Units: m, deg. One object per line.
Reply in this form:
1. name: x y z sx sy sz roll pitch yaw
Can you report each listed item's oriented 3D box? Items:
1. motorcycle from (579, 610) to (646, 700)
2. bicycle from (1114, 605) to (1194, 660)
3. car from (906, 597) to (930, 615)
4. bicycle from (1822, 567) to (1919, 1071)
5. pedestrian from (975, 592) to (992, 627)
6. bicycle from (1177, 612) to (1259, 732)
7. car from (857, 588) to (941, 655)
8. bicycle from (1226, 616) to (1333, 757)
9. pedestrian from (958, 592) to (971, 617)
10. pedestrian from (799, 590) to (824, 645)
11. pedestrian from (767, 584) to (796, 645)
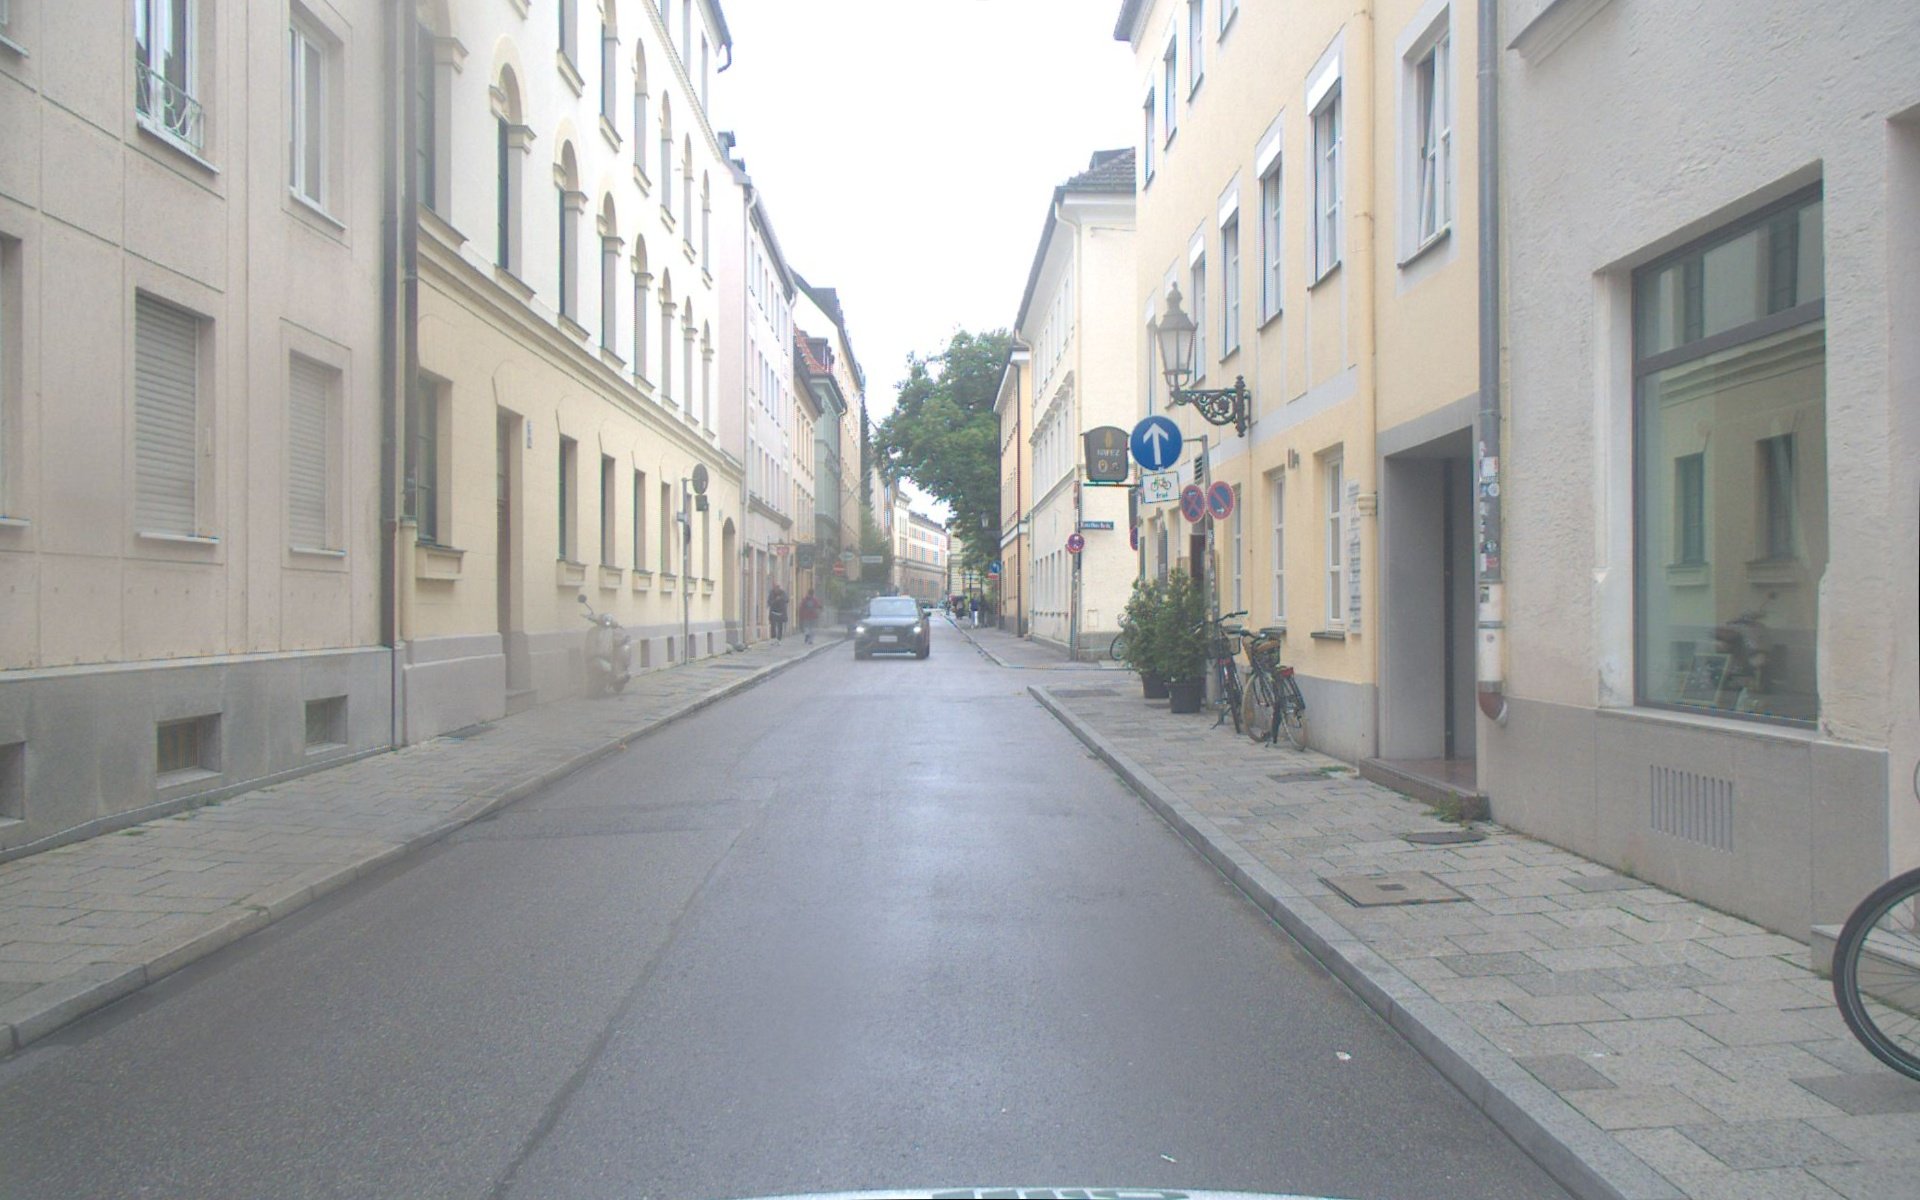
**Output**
1. motorcycle: -4.850 0.748 23.152 0.590 1.194 1.708 0 0 -1
2. bicycle: 4.352 0.721 37.094 1.721 1.164 0.586 -1 2 -1
3. car: -3.434 0.497 136.179 1.742 1.492 3.543 1 0 2
4. bicycle: 3.020 0.612 4.048 0.698 1.420 2.122 -3 0 1
5. pedestrian: 1.245 0.521 88.015 0.862 1.833 1.046 1 0 0
6. bicycle: 2.689 0.725 17.348 0.554 1.156 1.684 -2 0 0
7. car: -1.506 0.515 42.022 1.774 1.622 4.002 0 0 3
8. bicycle: 2.890 0.749 15.132 0.554 1.156 1.987 -2 0 0
9. pedestrian: 0.334 0.356 122.507 0.995 1.833 1.349 1 0 0
10. pedestrian: -4.694 0.545 52.294 0.750 1.738 0.785 -1 0 -3
11. pedestrian: -5.280 0.415 49.081 0.793 1.786 0.989 0 1 -3
